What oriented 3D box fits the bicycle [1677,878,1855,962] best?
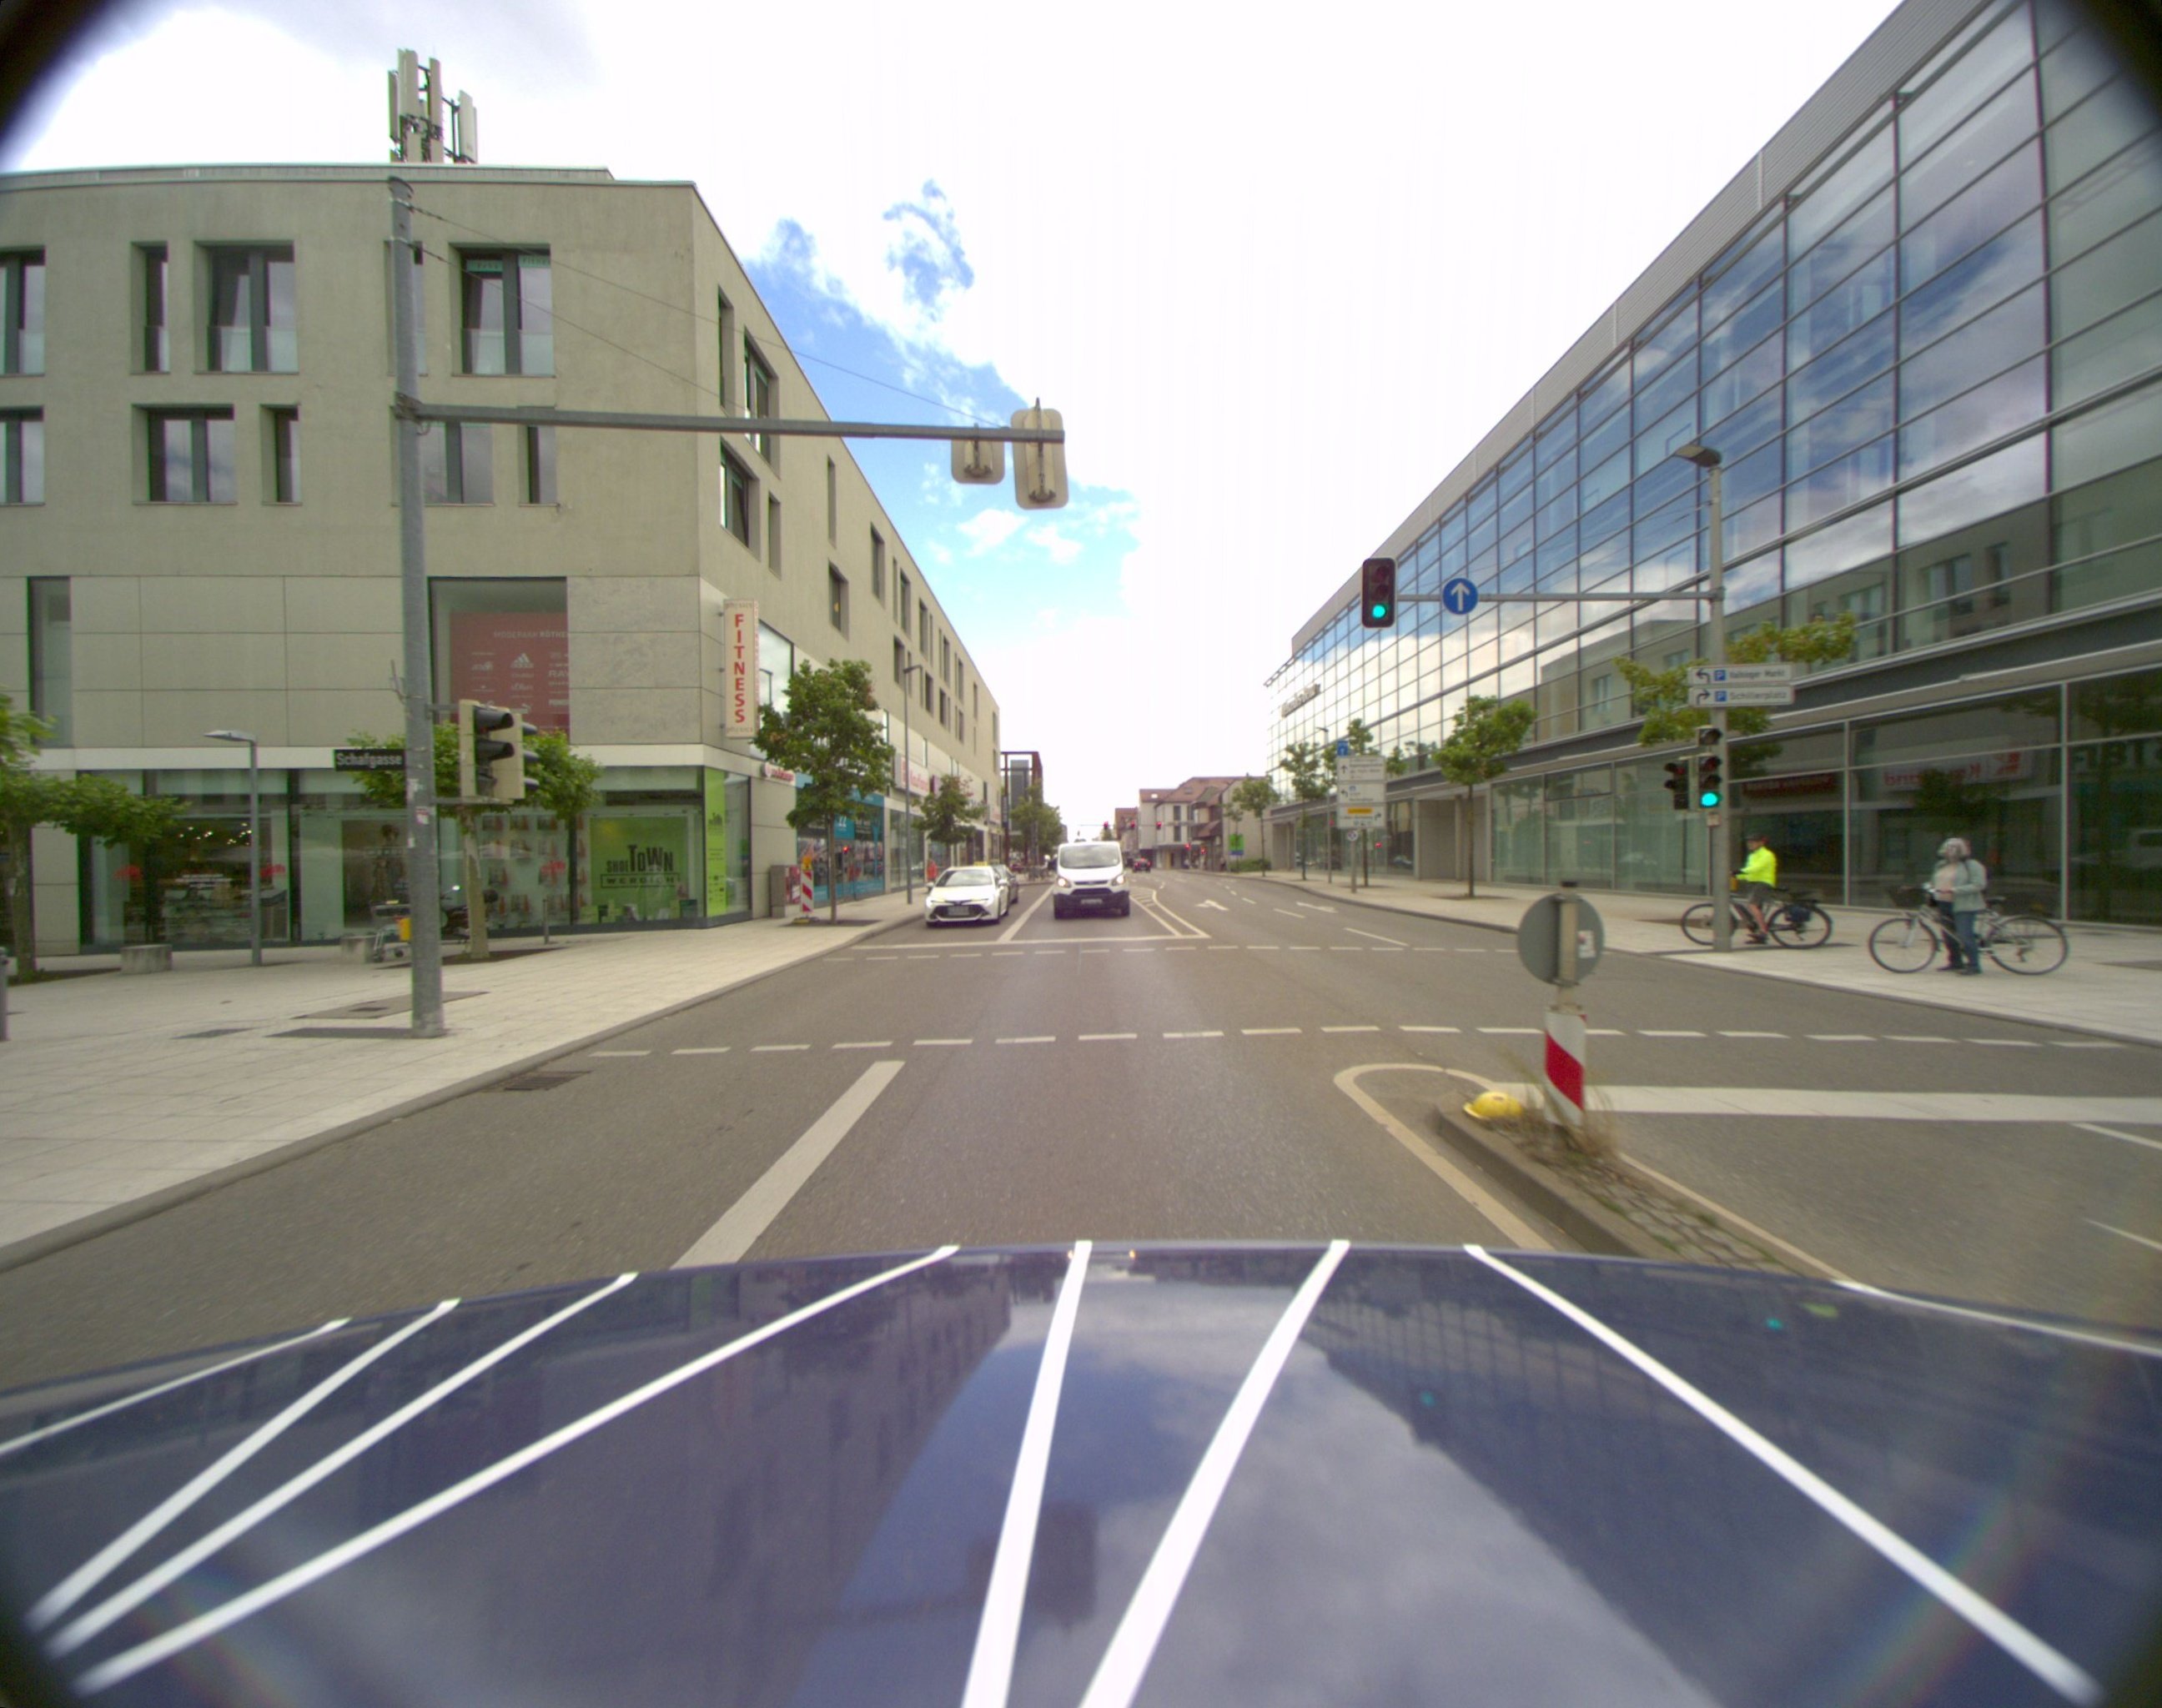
[{"bbox_3d":[10.906,1.024,12.164,2.025,1.199,0.749,-3,0,44],"label":"bicycle"}]

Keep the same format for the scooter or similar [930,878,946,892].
[{"bbox_3d":[-6.443,1.390,34.217,0.552,0.630,0.767,1,0,0],"label":"scooter or similar"}]

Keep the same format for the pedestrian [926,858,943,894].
[{"bbox_3d":[-6.461,0.943,33.432,0.590,1.558,0.732,1,0,0],"label":"pedestrian"}]

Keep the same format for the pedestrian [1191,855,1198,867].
[{"bbox_3d":[14.226,0.915,95.308,0.555,1.507,0.582,0,0,-32],"label":"pedestrian"}]

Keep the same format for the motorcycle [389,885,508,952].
[{"bbox_3d":[-13.156,1.333,15.842,1.844,1.251,0.593,-3,3,-2],"label":"motorcycle"}]

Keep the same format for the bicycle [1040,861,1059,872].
[{"bbox_3d":[-2.955,1.162,71.108,1.745,1.015,0.451,0,0,-6],"label":"bicycle"}]

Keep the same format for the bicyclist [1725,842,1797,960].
[{"bbox_3d":[10.902,0.734,12.173,0.772,1.789,0.749,-2,1,44],"label":"bicyclist"}]

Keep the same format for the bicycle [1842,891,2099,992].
[{"bbox_3d":[10.775,1.064,9.285,2.003,1.124,0.639,-3,1,16],"label":"bicycle"}]

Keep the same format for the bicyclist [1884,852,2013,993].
[{"bbox_3d":[10.603,0.823,9.319,0.783,1.639,0.639,-3,1,16],"label":"bicyclist"}]

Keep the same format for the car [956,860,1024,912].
[{"bbox_3d":[-3.072,1.031,26.667,1.741,1.533,4.790,-3,0,0],"label":"car"}]

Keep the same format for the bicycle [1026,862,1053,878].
[{"bbox_3d":[-2.816,1.072,51.006,1.745,1.093,0.561,1,0,-7],"label":"bicycle"}]

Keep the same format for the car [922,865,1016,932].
[{"bbox_3d":[-2.773,1.064,19.798,1.787,1.417,4.514,-2,0,-1],"label":"car"}]

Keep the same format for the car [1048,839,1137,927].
[{"bbox_3d":[0.276,0.662,20.316,2.000,1.976,5.000,-3,0,0],"label":"car"}]

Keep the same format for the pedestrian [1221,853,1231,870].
[{"bbox_3d":[13.382,0.678,70.155,0.702,1.614,0.693,0,0,0],"label":"pedestrian"}]

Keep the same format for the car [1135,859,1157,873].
[{"bbox_3d":[7.078,1.293,83.239,1.803,1.458,3.999,0,0,-3],"label":"car"}]
